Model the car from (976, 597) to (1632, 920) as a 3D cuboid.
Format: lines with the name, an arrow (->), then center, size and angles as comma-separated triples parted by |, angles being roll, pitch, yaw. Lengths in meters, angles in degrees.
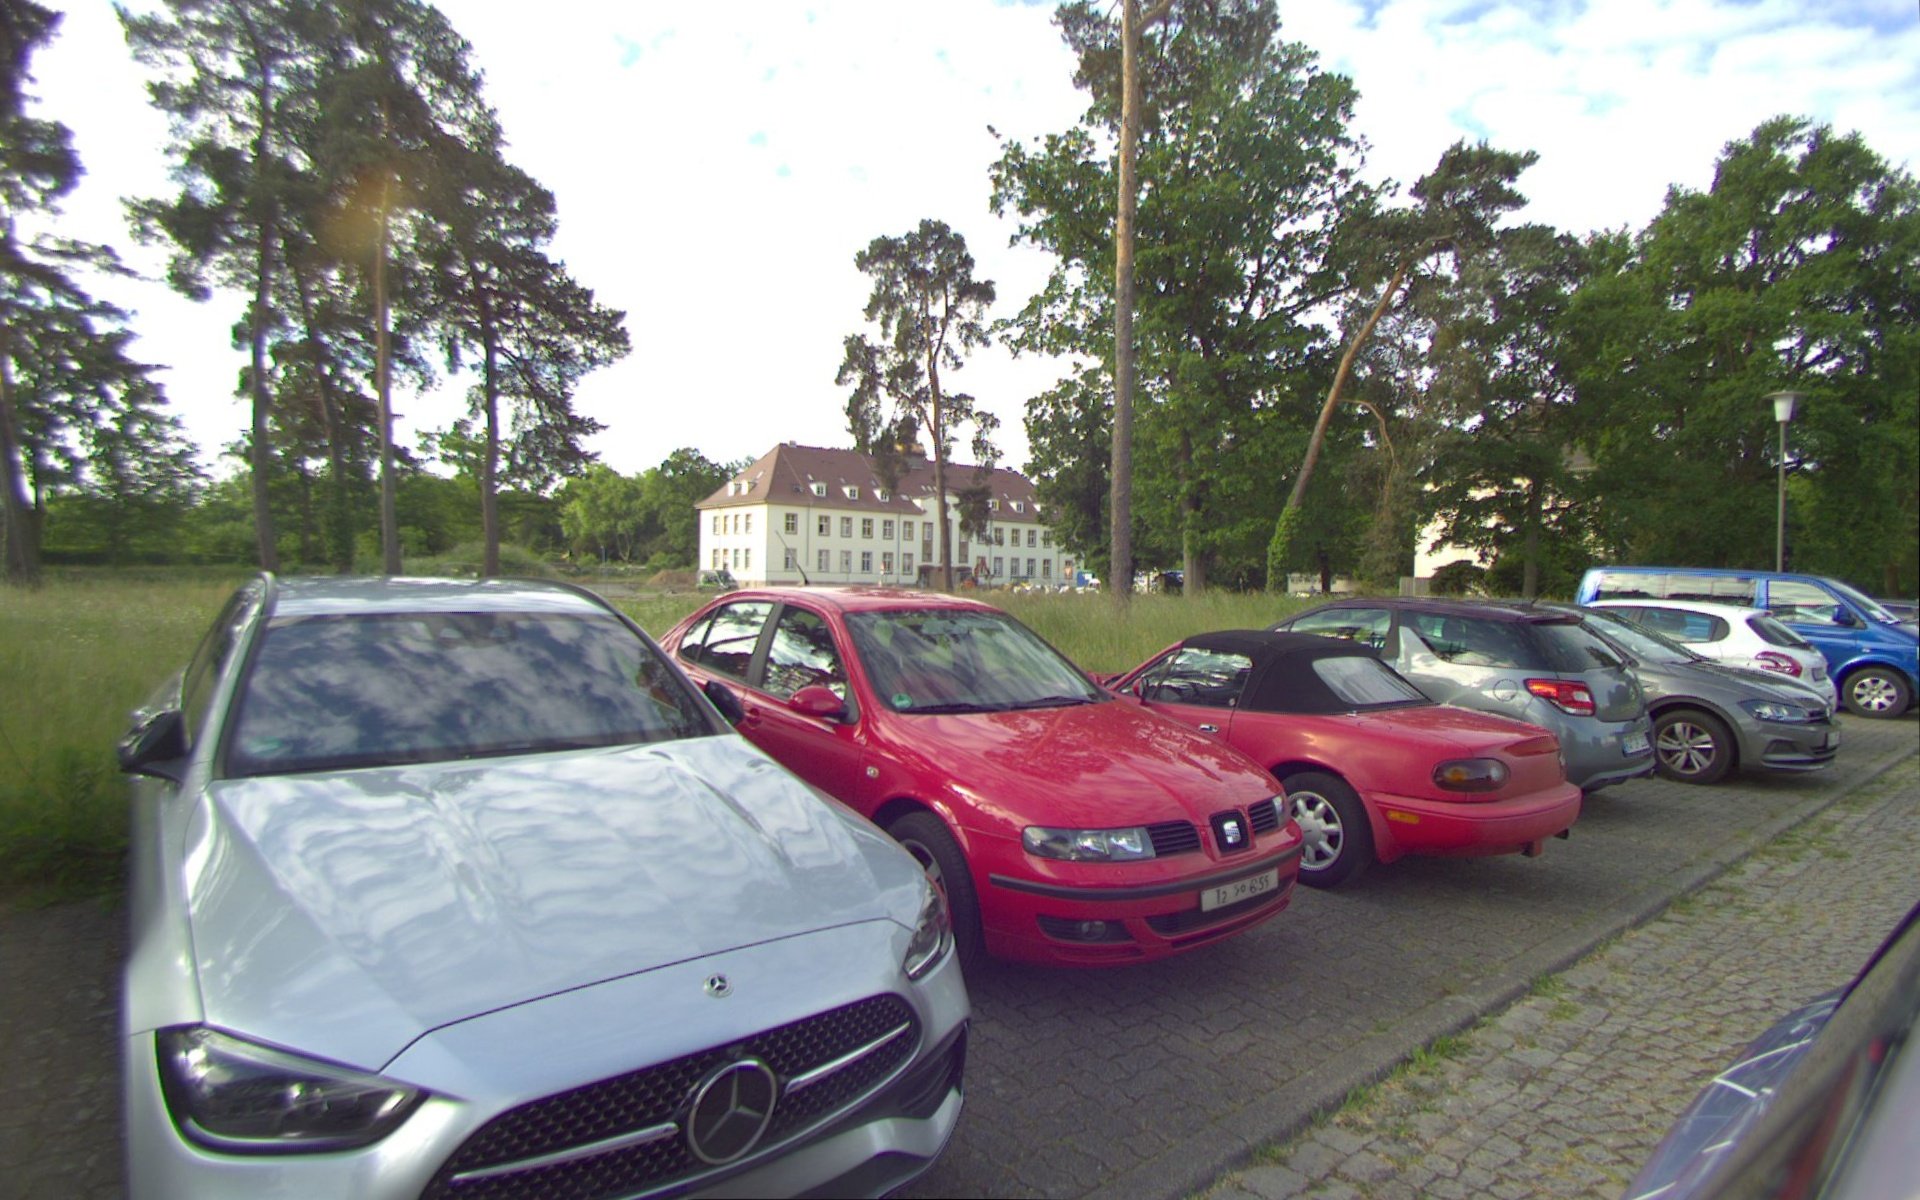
car -> 1.835, 0.695, 6.273 | 1.578, 1.303, 3.556 | 1, 1, -38

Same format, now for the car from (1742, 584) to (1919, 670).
car -> 18.572, 0.520, 20.713 | 1.554, 1.621, 3.833 | 0, 1, -42

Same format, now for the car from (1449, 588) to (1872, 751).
car -> 7.982, 0.659, 11.842 | 1.552, 1.517, 3.763 | 0, 1, -37

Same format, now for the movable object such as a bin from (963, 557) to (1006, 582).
movable object such as a bin -> 2.835, -3.501, 118.054 | 5.119, 2.802, 1.995 | 0, 1, -45

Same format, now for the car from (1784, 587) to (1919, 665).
car -> 20.801, 0.566, 22.532 | 1.554, 1.621, 3.628 | 0, 1, -42

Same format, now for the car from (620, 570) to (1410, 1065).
car -> -0.150, 0.589, 5.116 | 1.688, 1.441, 4.118 | 0, 1, -38

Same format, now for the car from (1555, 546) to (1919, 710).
car -> 12.099, 0.285, 15.231 | 2.023, 2.047, 4.957 | 0, 3, -38

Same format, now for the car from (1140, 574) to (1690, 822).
car -> 3.482, 0.577, 8.345 | 1.576, 1.522, 3.837 | 0, 1, -39

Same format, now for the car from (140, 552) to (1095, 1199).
car -> -1.733, 0.589, 3.573 | 1.736, 1.446, 4.335 | 0, 2, -40

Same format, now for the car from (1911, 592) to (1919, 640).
car -> 34.412, 0.598, 33.611 | 1.551, 1.638, 3.842 | 0, 1, -34

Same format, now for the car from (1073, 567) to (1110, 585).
car -> 15.556, -2.843, 119.616 | 3.923, 2.039, 2.221 | 0, 1, -34

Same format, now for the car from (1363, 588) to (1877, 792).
car -> 6.041, 0.663, 9.665 | 1.612, 1.484, 3.783 | 0, 1, -37

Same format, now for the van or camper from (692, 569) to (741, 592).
van or camper -> -24.602, -1.950, 102.163 | 6.065, 2.251, 1.968 | 2, 2, 44

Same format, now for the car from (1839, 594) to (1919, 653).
car -> 26.374, 0.644, 27.335 | 1.554, 1.544, 3.833 | 0, 1, -42
